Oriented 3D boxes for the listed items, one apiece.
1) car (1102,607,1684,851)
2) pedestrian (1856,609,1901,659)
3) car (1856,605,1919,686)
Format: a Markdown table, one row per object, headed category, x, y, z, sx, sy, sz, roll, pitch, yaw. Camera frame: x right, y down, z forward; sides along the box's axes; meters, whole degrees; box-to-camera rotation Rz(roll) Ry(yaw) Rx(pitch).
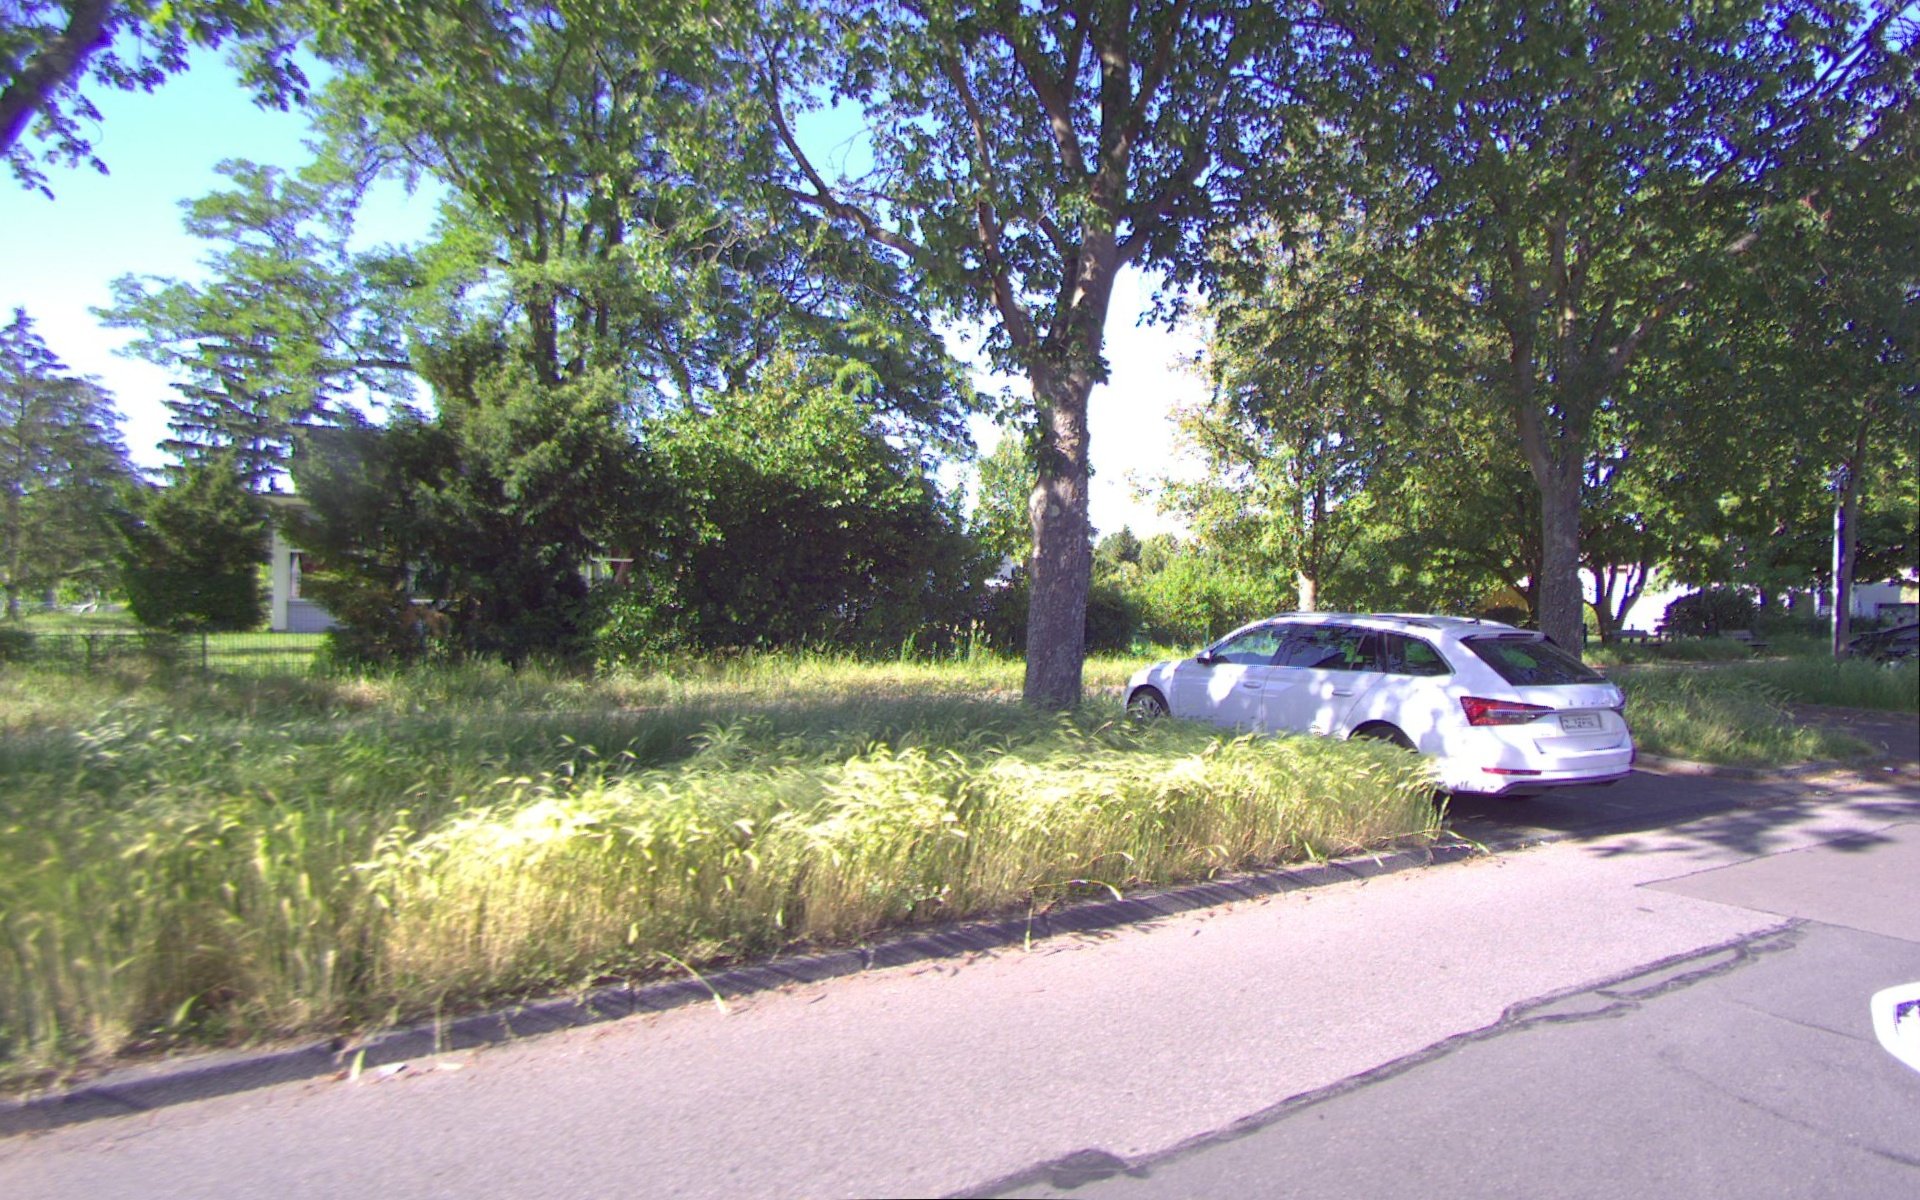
| category | x | y | z | sx | sy | sz | roll | pitch | yaw |
| --- | --- | --- | --- | --- | --- | --- | --- | --- | --- |
| car | 3.467 | 0.867 | 9.118 | 1.975 | 1.523 | 4.653 | 0 | 0 | -28 |
| pedestrian | 35.998 | 1.306 | 39.348 | 1.212 | 1.851 | 1.542 | 3 | 1 | 44 |
| car | 20.137 | 0.964 | 19.038 | 1.786 | 1.552 | 4.345 | 1 | 1 | -30 |
